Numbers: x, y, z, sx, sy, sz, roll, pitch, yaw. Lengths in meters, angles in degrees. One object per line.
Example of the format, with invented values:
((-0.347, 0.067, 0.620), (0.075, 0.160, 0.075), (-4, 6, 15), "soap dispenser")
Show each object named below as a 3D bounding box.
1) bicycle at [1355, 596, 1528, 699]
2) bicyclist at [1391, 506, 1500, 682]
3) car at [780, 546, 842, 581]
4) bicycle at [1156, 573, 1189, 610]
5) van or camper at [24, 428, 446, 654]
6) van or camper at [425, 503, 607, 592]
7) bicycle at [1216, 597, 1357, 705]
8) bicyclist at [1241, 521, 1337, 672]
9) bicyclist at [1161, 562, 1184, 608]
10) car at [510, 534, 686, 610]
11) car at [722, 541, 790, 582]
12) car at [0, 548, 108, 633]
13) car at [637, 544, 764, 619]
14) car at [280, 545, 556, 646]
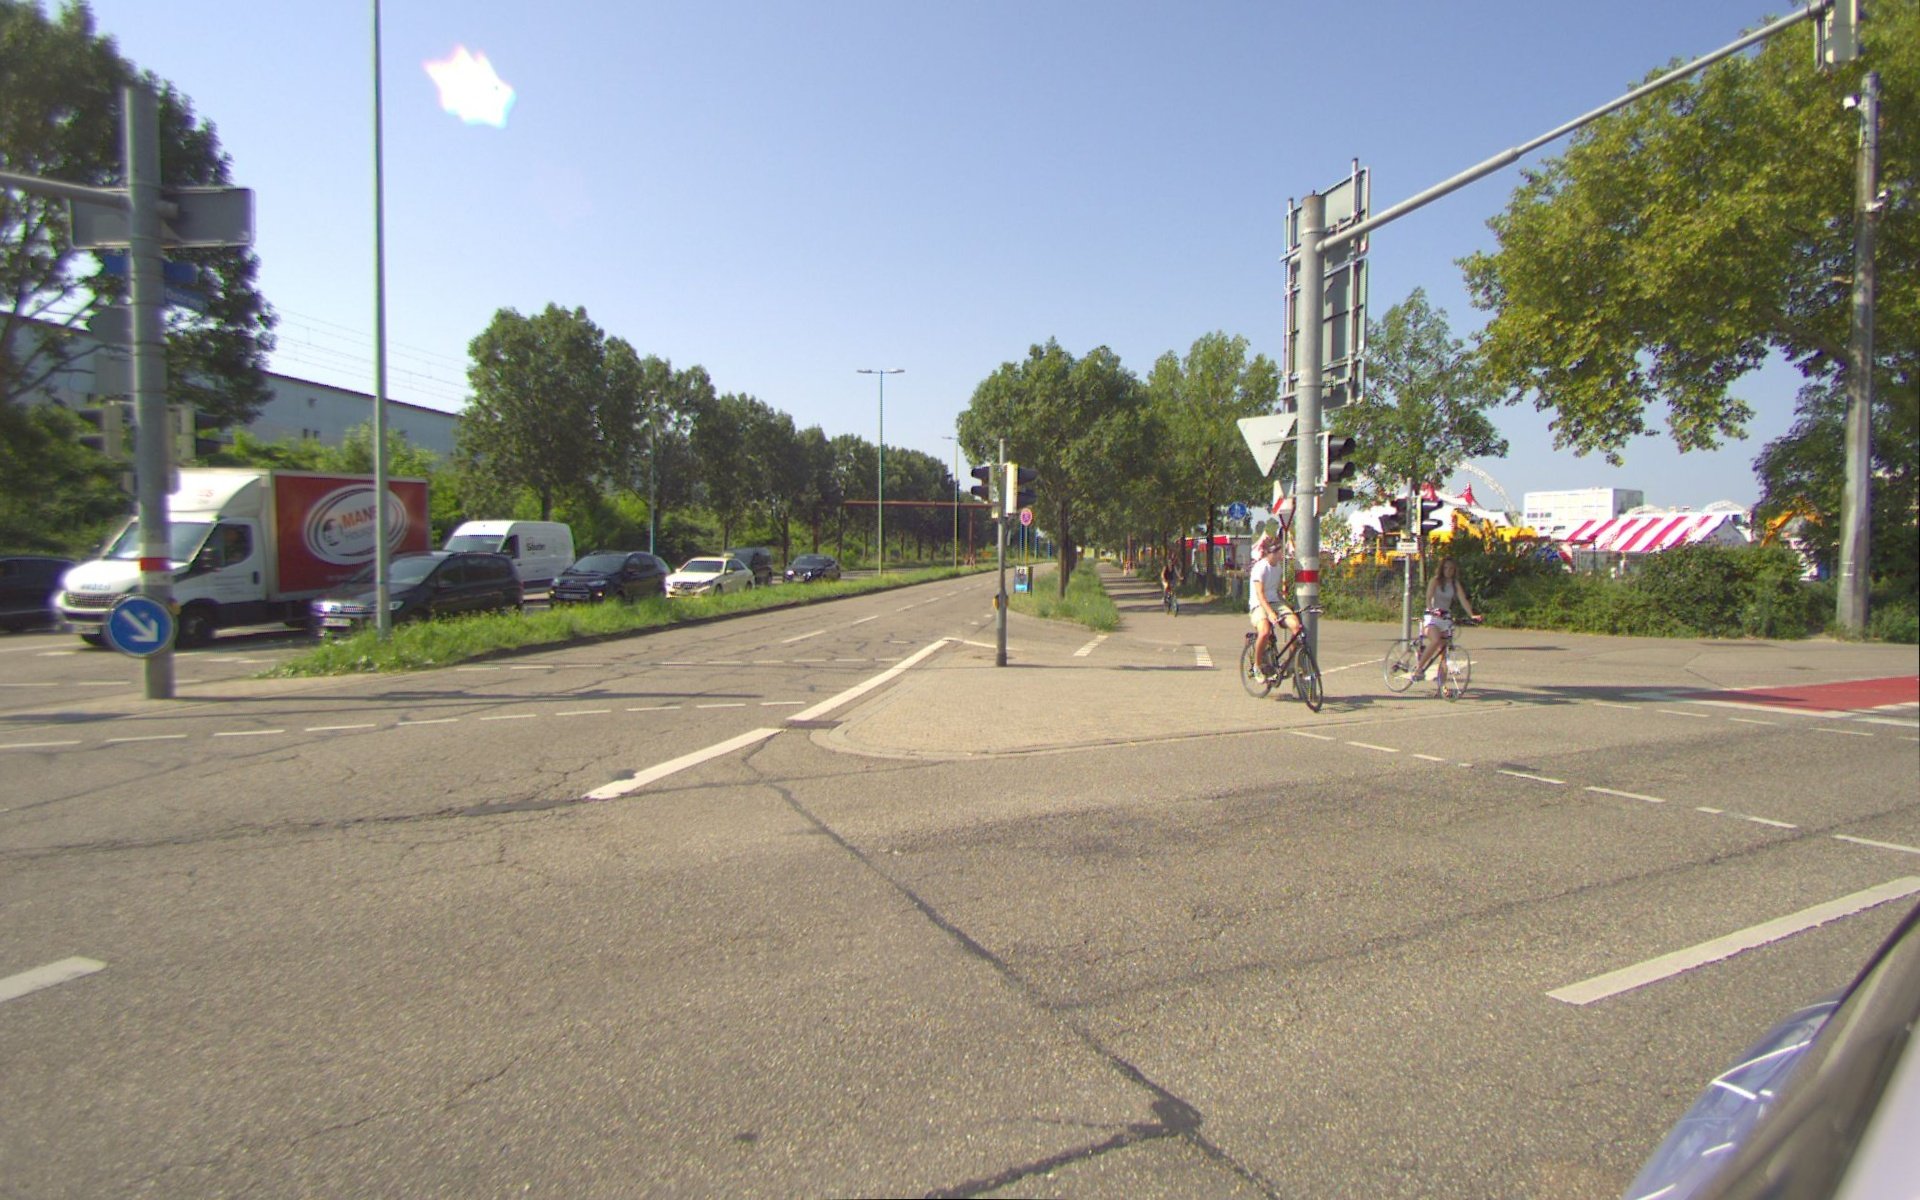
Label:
((5.881, 0.529, 12.544), (0.757, 1.101, 2.267), (-1, 1, -10), "bicycle")
((5.910, -0.079, 12.382), (0.585, 2.039, 1.207), (-1, 0, -9), "bicyclist")
((-6.431, -1.569, 44.095), (1.629, 1.415, 3.746), (-1, 1, 9), "car")
((6.428, -0.257, 30.595), (0.567, 1.069, 1.479), (-1, 1, 28), "bicycle")
((-12.884, -0.917, 18.906), (2.212, 3.405, 6.833), (-1, 0, 9), "van or camper")
((-14.113, -1.552, 32.839), (2.211, 2.514, 6.852), (-1, 0, 7), "van or camper")
((3.756, 0.536, 11.874), (0.757, 1.101, 2.222), (1, 1, -5), "bicycle")
((3.706, -0.042, 11.478), (0.586, 1.614, 1.206), (-1, 0, -4), "bicyclist")
((6.429, -0.454, 30.616), (0.498, 1.382, 0.689), (-1, 0, 30), "bicyclist")
((-9.329, -0.689, 26.684), (2.111, 1.762, 5.210), (-1, 0, 9), "car")
((-9.147, -1.693, 45.581), (1.631, 1.685, 3.742), (-1, 0, 12), "car")
((-18.775, -0.160, 18.994), (1.965, 1.571, 3.996), (-1, 3, 6), "car")
((-8.582, -0.596, 34.060), (2.213, 2.290, 5.210), (-1, 0, 9), "car")
((-9.977, -0.098, 19.246), (1.875, 1.633, 5.182), (-1, 0, 9), "car")
